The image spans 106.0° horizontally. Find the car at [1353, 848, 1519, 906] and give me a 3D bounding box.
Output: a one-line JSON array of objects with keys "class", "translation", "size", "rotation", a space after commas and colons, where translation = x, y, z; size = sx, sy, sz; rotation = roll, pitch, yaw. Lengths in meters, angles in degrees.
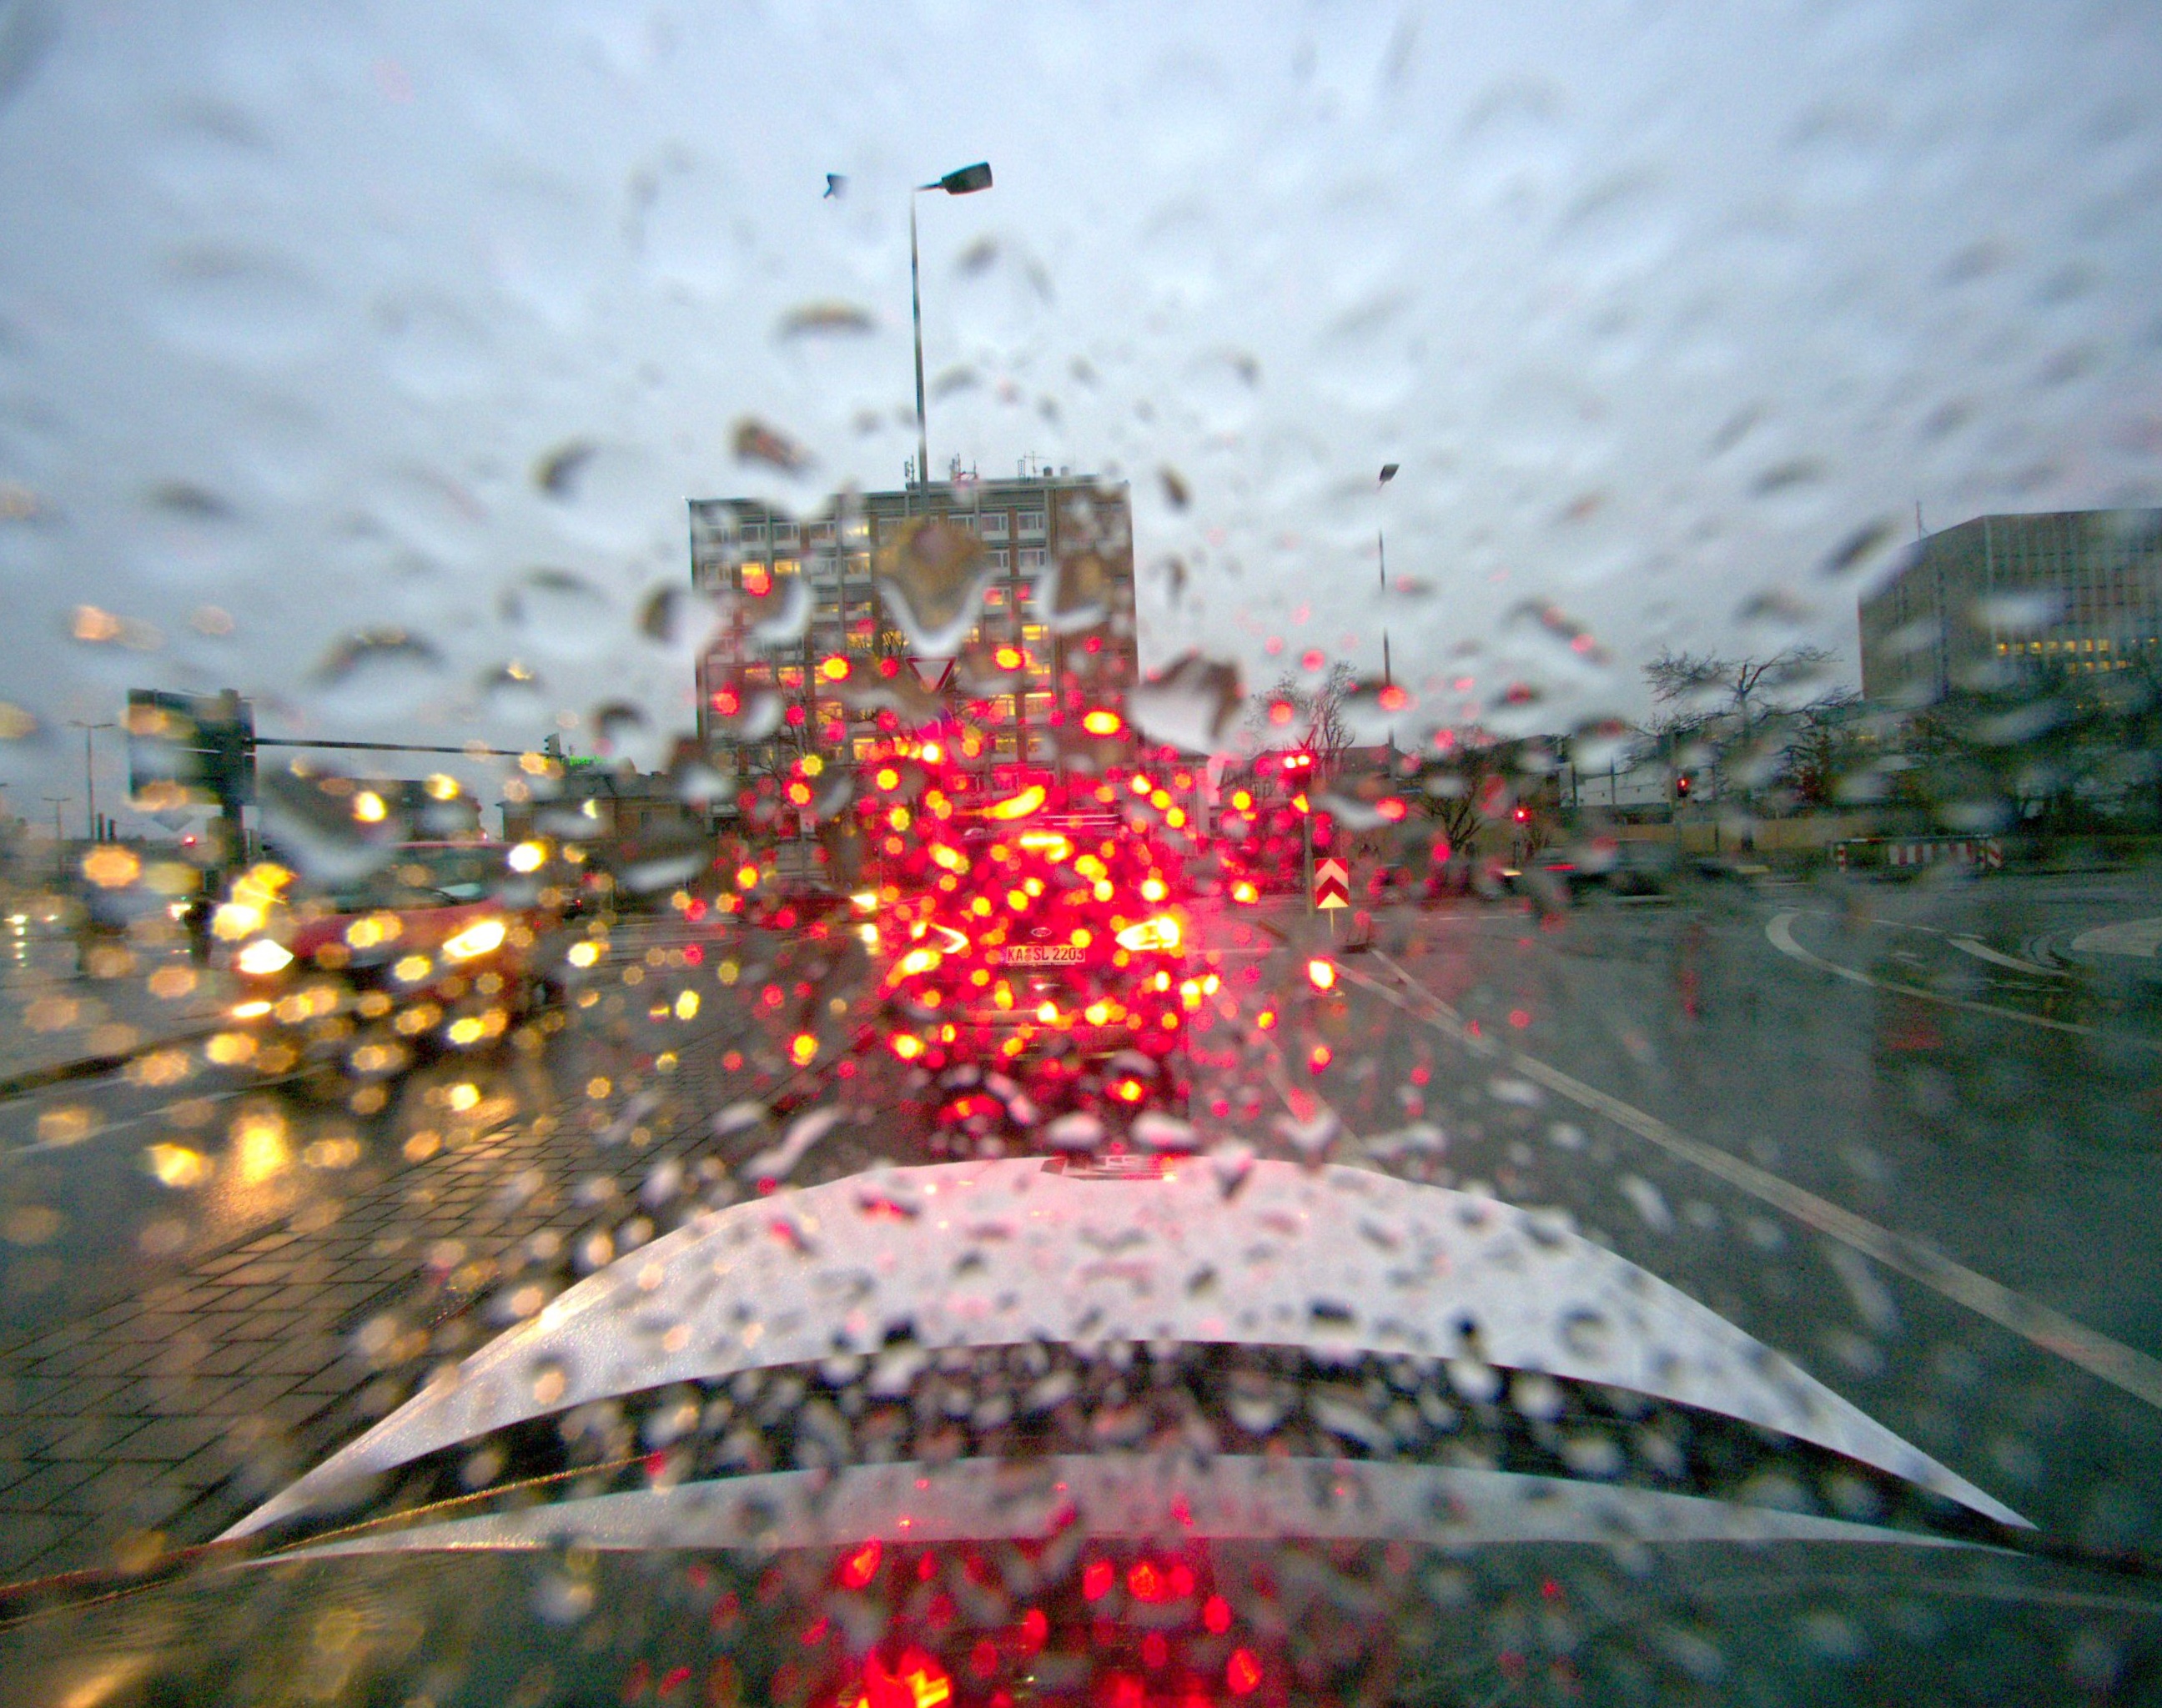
[{"class": "car", "translation": [9.398, 0.610, 21.830], "size": [3.731, 1.302, 1.706], "rotation": [-3, -1, 10]}]

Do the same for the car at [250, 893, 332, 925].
[{"class": "car", "translation": [-51.131, 3.546, 52.754], "size": [1.649, 1.826, 3.609], "rotation": [-1, -1, 39]}]

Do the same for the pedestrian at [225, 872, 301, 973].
[{"class": "pedestrian", "translation": [-17.398, 1.431, 17.353], "size": [0.996, 2.021, 0.792], "rotation": [-3, 0, -39]}]

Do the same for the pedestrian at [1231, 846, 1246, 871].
[{"class": "pedestrian", "translation": [10.673, 0.313, 55.168], "size": [0.712, 1.628, 0.767], "rotation": [-3, 0, 34]}]

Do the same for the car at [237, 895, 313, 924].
[{"class": "car", "translation": [-53.092, 3.631, 53.667], "size": [1.505, 1.702, 3.411], "rotation": [-1, -1, 39]}]

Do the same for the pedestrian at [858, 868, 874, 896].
[{"class": "pedestrian", "translation": [-13.078, 1.694, 49.497], "size": [0.634, 1.688, 0.640], "rotation": [-3, 0, 18]}]

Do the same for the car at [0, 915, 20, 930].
[{"class": "car", "translation": [-119.354, 7.596, 90.421], "size": [3.948, 1.509, 1.750], "rotation": [-3, 0, 39]}]

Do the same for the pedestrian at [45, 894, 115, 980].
[{"class": "pedestrian", "translation": [-21.801, 1.786, 17.750], "size": [0.542, 1.770, 0.746], "rotation": [-3, 0, 15]}]

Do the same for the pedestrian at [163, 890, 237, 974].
[{"class": "pedestrian", "translation": [-19.540, 1.714, 18.077], "size": [0.653, 1.755, 0.856], "rotation": [-3, 0, 18]}]

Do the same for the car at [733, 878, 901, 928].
[{"class": "car", "translation": [-8.285, 1.536, 25.696], "size": [4.649, 1.302, 1.946], "rotation": [-3, -1, 14]}]

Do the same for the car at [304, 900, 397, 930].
[{"class": "car", "translation": [-43.818, 3.636, 48.921], "size": [1.582, 1.482, 3.840], "rotation": [-1, -1, 31]}]

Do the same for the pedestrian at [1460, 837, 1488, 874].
[{"class": "pedestrian", "translation": [19.815, 0.076, 41.064], "size": [0.989, 1.799, 0.923], "rotation": [-3, 0, 14]}]

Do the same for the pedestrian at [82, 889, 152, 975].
[{"class": "pedestrian", "translation": [-21.740, 1.744, 18.376], "size": [0.669, 1.838, 0.738], "rotation": [-3, 0, 16]}]

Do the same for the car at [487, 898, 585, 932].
[{"class": "car", "translation": [-27.059, 2.999, 40.494], "size": [3.959, 1.568, 1.833], "rotation": [-1, -1, 13]}]

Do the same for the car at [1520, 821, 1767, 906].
[{"class": "car", "translation": [12.349, 0.226, 18.171], "size": [4.097, 1.582, 1.847], "rotation": [-3, -1, 11]}]

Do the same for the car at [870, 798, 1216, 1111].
[{"class": "car", "translation": [-0.161, 0.594, 6.692], "size": [1.986, 1.789, 4.001], "rotation": [0, -1, 2]}]

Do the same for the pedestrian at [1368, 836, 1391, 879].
[{"class": "pedestrian", "translation": [15.231, 0.168, 41.540], "size": [0.887, 2.113, 0.889], "rotation": [-3, 0, 13]}]

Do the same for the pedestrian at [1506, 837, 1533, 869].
[{"class": "pedestrian", "translation": [22.032, -0.066, 40.948], "size": [0.887, 1.533, 0.888], "rotation": [-3, 0, 10]}]

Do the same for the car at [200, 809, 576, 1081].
[{"class": "car", "translation": [-6.957, 0.747, 8.849], "size": [1.934, 2.070, 4.603], "rotation": [-3, 0, -26]}]

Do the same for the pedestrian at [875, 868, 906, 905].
[{"class": "pedestrian", "translation": [-10.096, 1.728, 43.196], "size": [0.992, 1.842, 1.146], "rotation": [-3, 2, 25]}]

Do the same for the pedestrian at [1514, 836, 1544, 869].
[{"class": "pedestrian", "translation": [21.942, -0.080, 39.874], "size": [0.919, 1.533, 1.046], "rotation": [-3, 0, 10]}]

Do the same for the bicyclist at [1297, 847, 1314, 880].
[{"class": "bicyclist", "translation": [11.153, 0.472, 40.433], "size": [0.679, 1.599, 0.662], "rotation": [-3, 0, 17]}]

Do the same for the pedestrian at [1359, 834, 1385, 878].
[{"class": "pedestrian", "translation": [14.546, 0.088, 40.728], "size": [0.890, 2.113, 0.886], "rotation": [-3, 0, 2]}]

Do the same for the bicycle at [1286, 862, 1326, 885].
[{"class": "bicycle", "translation": [11.172, 0.978, 40.443], "size": [1.868, 1.048, 0.662], "rotation": [-3, 0, 17]}]
